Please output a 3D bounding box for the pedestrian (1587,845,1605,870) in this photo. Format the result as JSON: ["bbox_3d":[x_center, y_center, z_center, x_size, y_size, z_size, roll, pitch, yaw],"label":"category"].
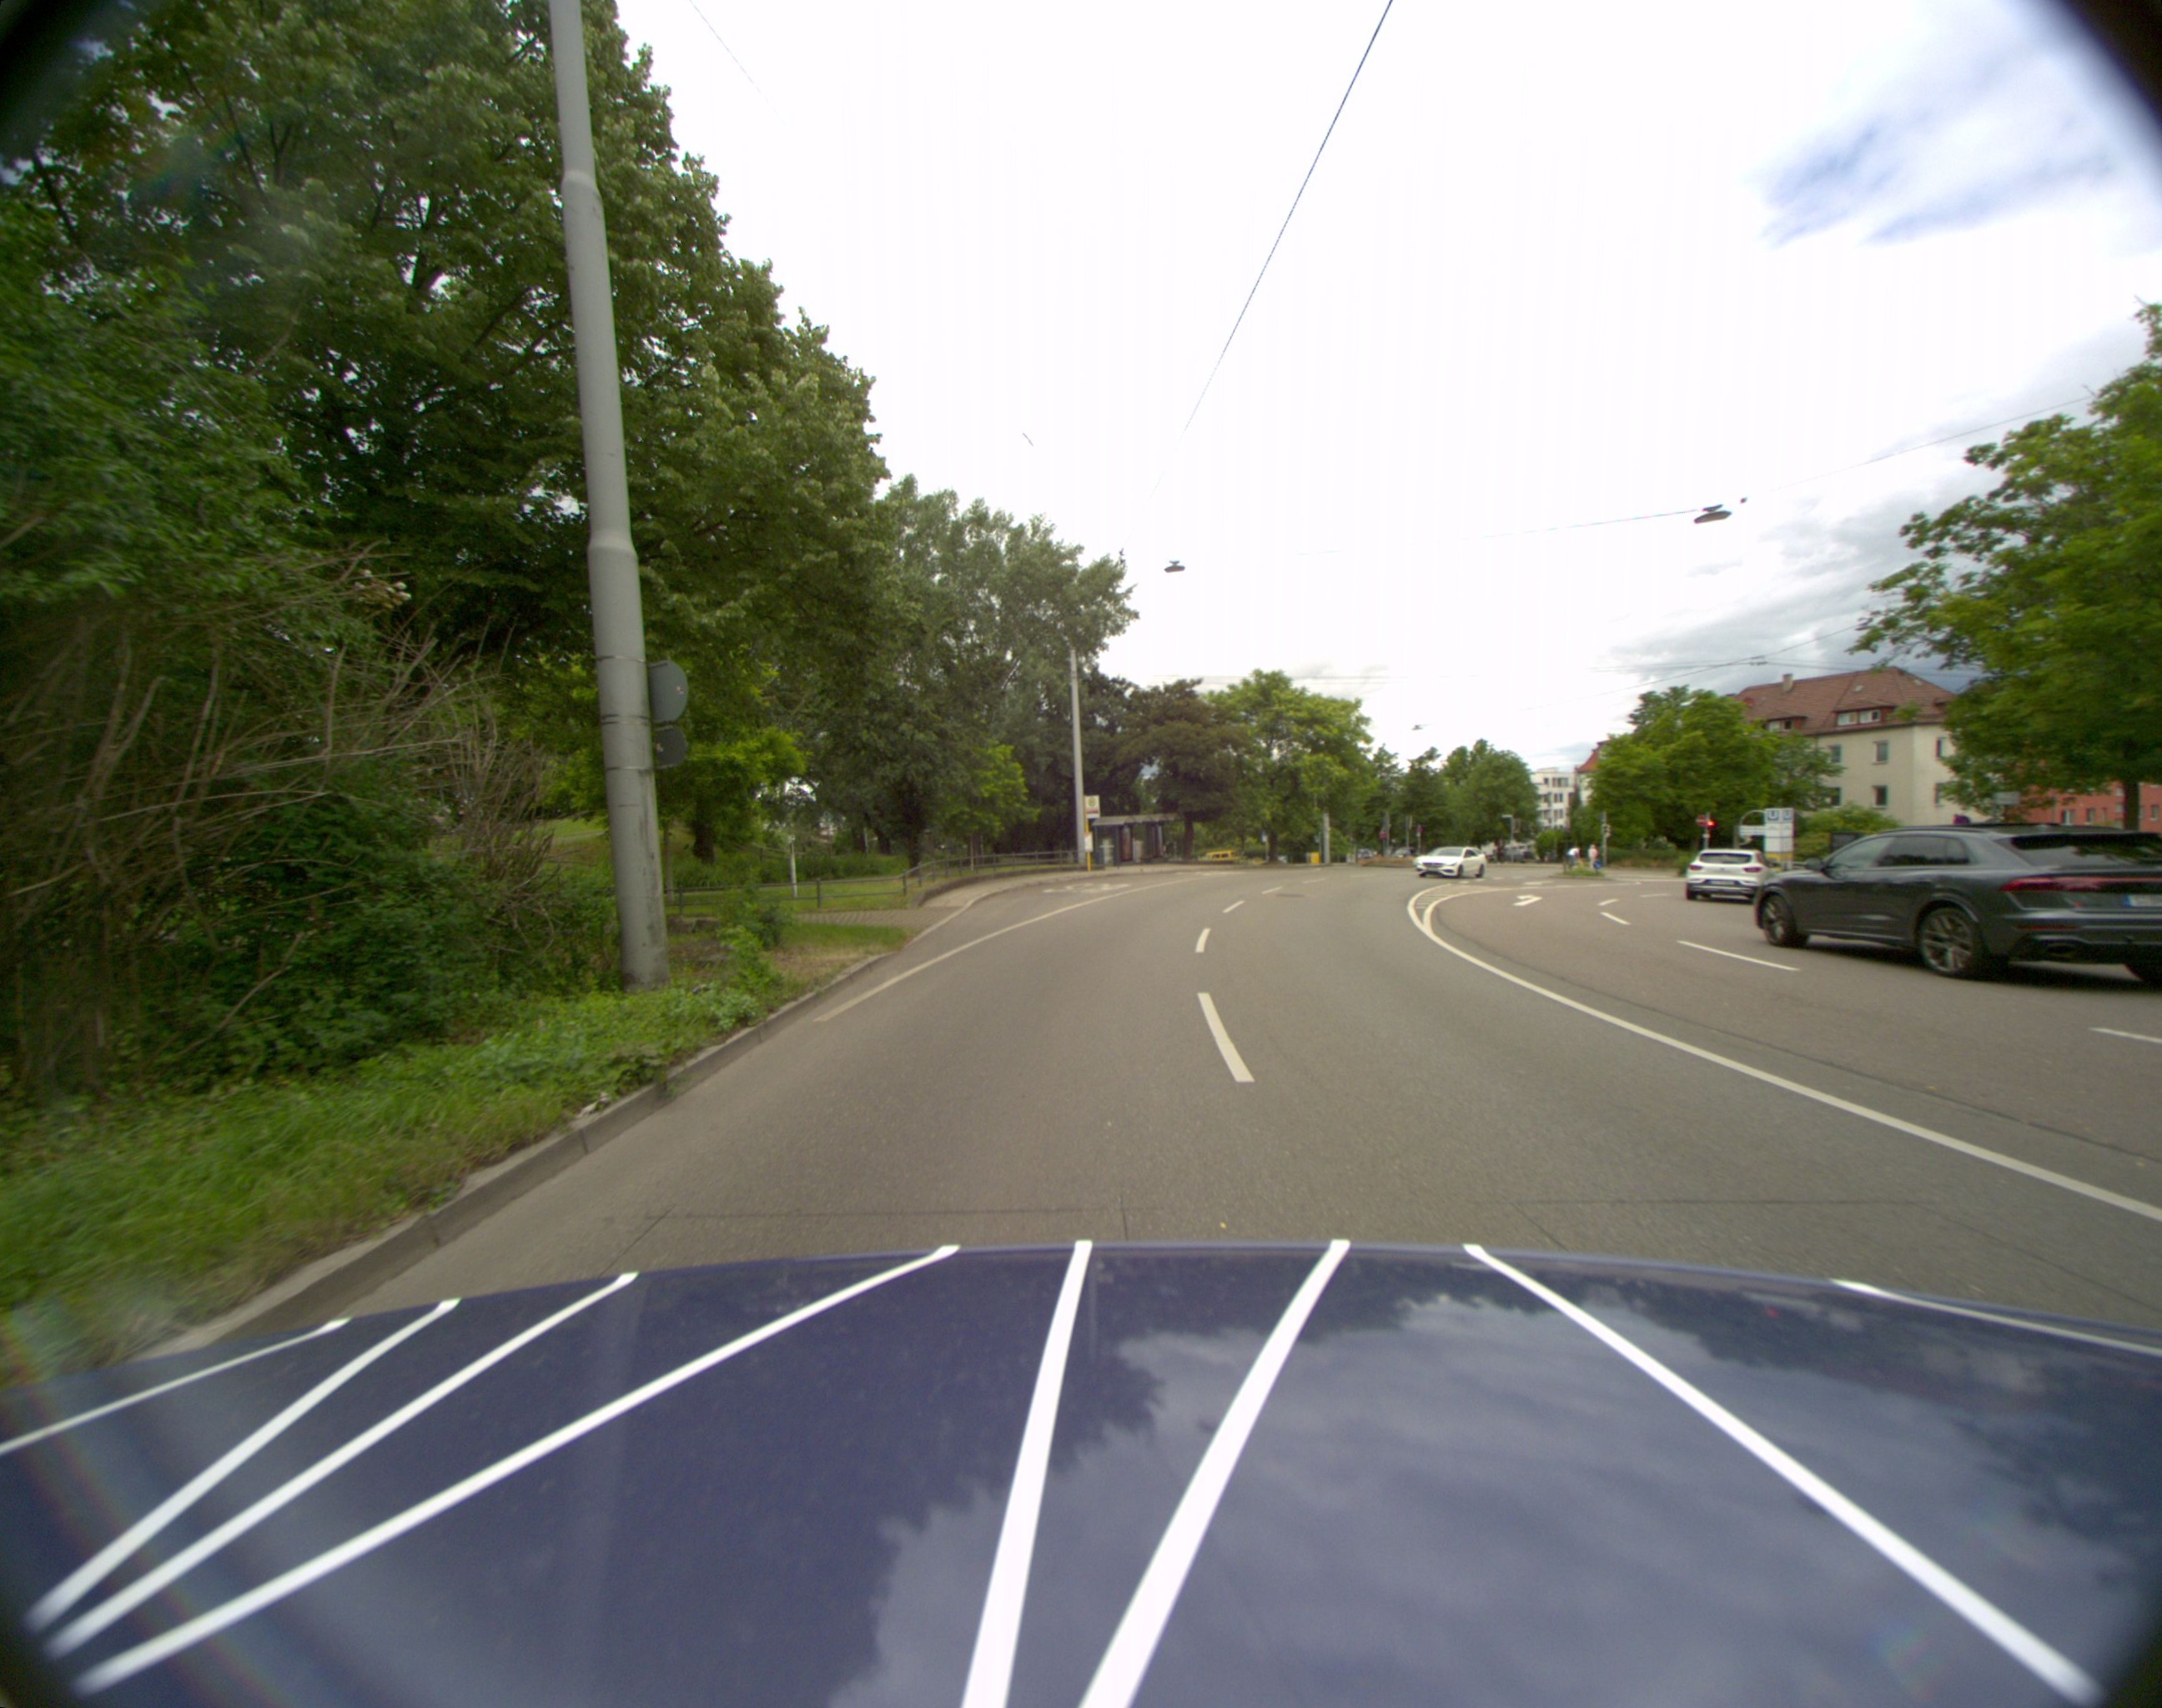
[{"bbox_3d":[35.670,0.223,52.625,0.727,1.703,0.616,1,4,-8],"label":"pedestrian"}]

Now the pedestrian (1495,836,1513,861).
[{"bbox_3d":[32.262,-0.397,57.978,0.856,1.875,0.965,0,1,6],"label":"pedestrian"}]

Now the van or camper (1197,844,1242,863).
[{"bbox_3d":[14.988,-0.080,82.419,1.893,1.967,4.457,-3,4,-45],"label":"van or camper"}]

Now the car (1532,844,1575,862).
[{"bbox_3d":[54.744,-0.141,88.081,2.004,2.002,3.776,0,1,-38],"label":"car"}]

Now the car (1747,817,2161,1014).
[{"bbox_3d":[10.572,0.541,9.124,1.898,1.781,4.764,0,1,14],"label":"car"}]

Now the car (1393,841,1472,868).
[{"bbox_3d":[20.238,0.028,43.760,4.004,1.455,1.894,-1,0,-21],"label":"car"}]

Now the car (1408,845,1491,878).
[{"bbox_3d":[16.998,0.292,34.987,4.238,1.390,1.994,-1,2,-43],"label":"car"}]

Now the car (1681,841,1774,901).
[{"bbox_3d":[19.926,0.459,23.353,1.896,1.644,4.385,1,1,44],"label":"car"}]

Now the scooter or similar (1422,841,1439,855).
[{"bbox_3d":[31.563,-0.577,68.689,1.318,1.241,0.464,0,1,10],"label":"scooter or similar"}]

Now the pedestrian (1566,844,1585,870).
[{"bbox_3d":[34.099,0.209,52.387,0.727,1.703,0.616,1,4,-8],"label":"pedestrian"}]
